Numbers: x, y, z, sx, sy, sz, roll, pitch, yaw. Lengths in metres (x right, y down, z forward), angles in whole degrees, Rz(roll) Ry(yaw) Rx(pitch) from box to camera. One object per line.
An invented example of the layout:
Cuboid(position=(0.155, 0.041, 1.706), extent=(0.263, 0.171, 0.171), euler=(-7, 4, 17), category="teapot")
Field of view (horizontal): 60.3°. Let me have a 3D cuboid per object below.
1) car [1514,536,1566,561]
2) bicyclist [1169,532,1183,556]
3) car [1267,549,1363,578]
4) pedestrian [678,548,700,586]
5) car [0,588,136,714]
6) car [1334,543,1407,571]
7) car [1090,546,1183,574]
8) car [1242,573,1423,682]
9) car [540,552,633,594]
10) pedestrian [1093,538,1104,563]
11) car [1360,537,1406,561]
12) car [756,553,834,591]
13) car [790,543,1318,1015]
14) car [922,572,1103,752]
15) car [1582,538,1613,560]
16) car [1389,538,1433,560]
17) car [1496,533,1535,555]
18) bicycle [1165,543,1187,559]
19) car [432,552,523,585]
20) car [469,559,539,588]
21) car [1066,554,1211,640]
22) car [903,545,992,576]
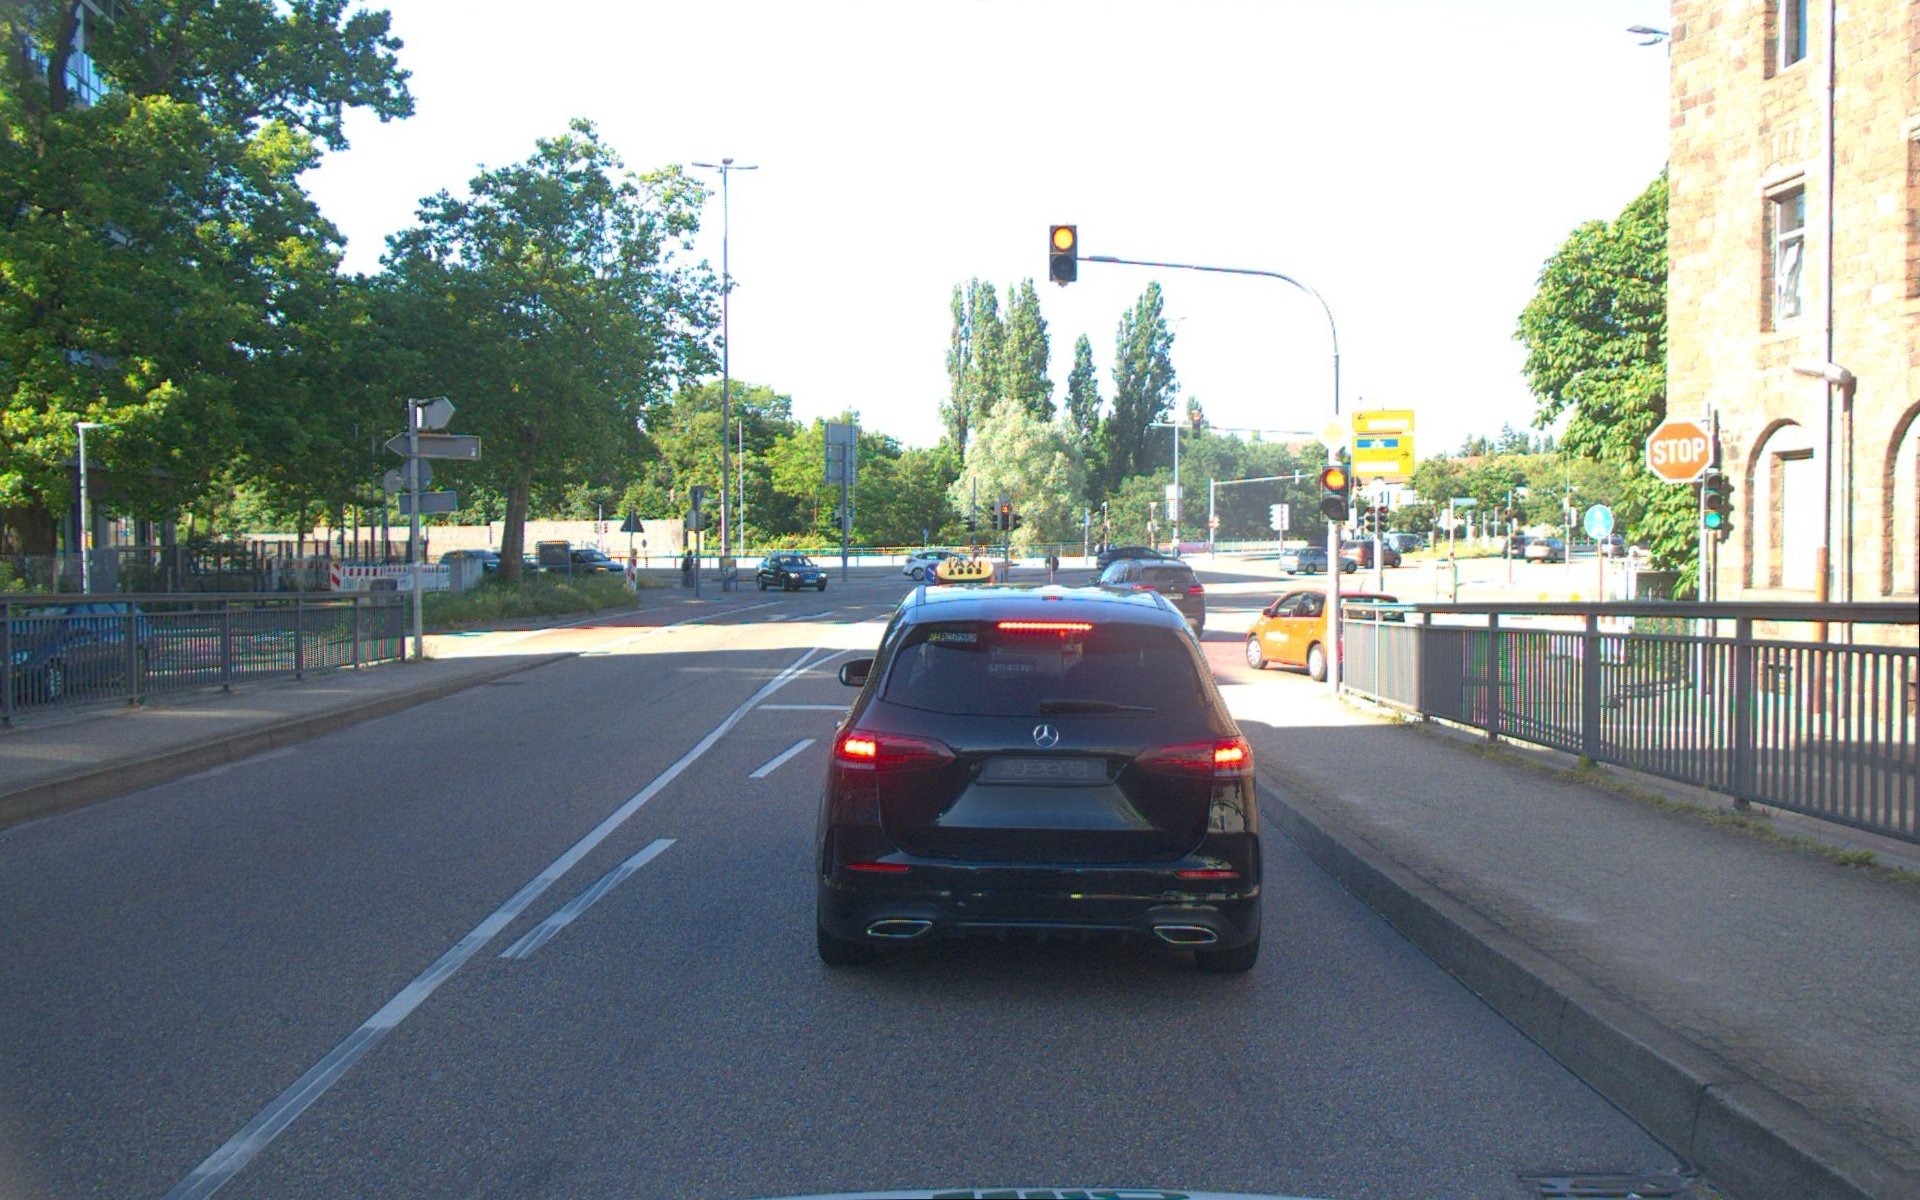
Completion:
Cuboid(position=(36.633, -3.272, 104.378), extent=(1.959, 1.466, 4.808), euler=(1, 3, 35), category="car")
Cuboid(position=(14.494, -3.733, 111.016), extent=(0.517, 1.578, 0.803), euler=(0, 2, 38), category="bicyclist")
Cuboid(position=(18.255, -1.884, 85.089), extent=(4.510, 1.317, 1.990), euler=(-2, 3, -19), category="car")
Cuboid(position=(-11.104, -1.366, 67.842), extent=(0.690, 1.552, 0.744), euler=(1, 1, 10), category="pedestrian")
Cuboid(position=(-14.761, 0.723, 25.800), extent=(1.814, 1.722, 4.000), euler=(0, 2, -1), category="car")
Cuboid(position=(23.696, -2.514, 95.375), extent=(4.516, 1.480, 1.969), euler=(-4, 4, -43), category="car")
Cuboid(position=(9.272, -2.109, 86.865), extent=(4.507, 1.317, 1.878), euler=(-2, 3, -18), category="car")
Cuboid(position=(6.158, 0.400, 27.731), extent=(1.691, 1.548, 3.477), euler=(-1, 3, -11), category="car")
Cuboid(position=(-17.142, -1.263, 75.863), extent=(3.911, 1.651, 1.808), euler=(5, 4, 27), category="car")
Cuboid(position=(8.921, -3.174, 106.528), extent=(0.443, 1.613, 0.499), euler=(0, 2, 40), category="pedestrian")
Cuboid(position=(29.445, -3.540, 115.167), extent=(1.846, 1.605, 3.987), euler=(1, 2, 35), category="car")
Cuboid(position=(-6.521, -1.131, 65.156), extent=(1.720, 1.431, 4.166), euler=(-2, 2, -26), category="car")
Cuboid(position=(0.307, 0.606, 7.834), extent=(1.839, 1.641, 4.000), euler=(1, 1, -1), category="car")
Cuboid(position=(0.520, 0.536, 16.725), extent=(1.606, 1.556, 3.475), euler=(-1, 2, 1), category="car")
Cuboid(position=(46.247, -3.720, 120.067), extent=(1.952, 1.466, 4.297), euler=(0, 3, 19), category="car")
Cuboid(position=(32.848, -3.726, 120.375), extent=(1.846, 1.605, 3.987), euler=(1, 2, 35), category="car")
Cuboid(position=(38.061, -3.827, 113.285), extent=(1.748, 1.381, 4.071), euler=(0, 3, 30), category="car")
Cuboid(position=(14.493, -3.285, 111.038), extent=(0.517, 1.068, 1.981), euler=(0, 2, 38), category="bicycle")
Cuboid(position=(-24.810, -1.651, 85.024), extent=(4.301, 1.619, 1.921), euler=(1, 3, 25), category="car")
Cuboid(position=(-25.531, -1.482, 92.520), extent=(3.924, 1.574, 1.882), euler=(1, 0, 39), category="car")
Cuboid(position=(4.054, -0.109, 38.273), extent=(1.695, 1.843, 4.274), euler=(1, 1, -19), category="car")
Cuboid(position=(-0.571, -1.930, 80.514), extent=(4.211, 1.389, 2.001), euler=(-1, 3, 1), category="car")
